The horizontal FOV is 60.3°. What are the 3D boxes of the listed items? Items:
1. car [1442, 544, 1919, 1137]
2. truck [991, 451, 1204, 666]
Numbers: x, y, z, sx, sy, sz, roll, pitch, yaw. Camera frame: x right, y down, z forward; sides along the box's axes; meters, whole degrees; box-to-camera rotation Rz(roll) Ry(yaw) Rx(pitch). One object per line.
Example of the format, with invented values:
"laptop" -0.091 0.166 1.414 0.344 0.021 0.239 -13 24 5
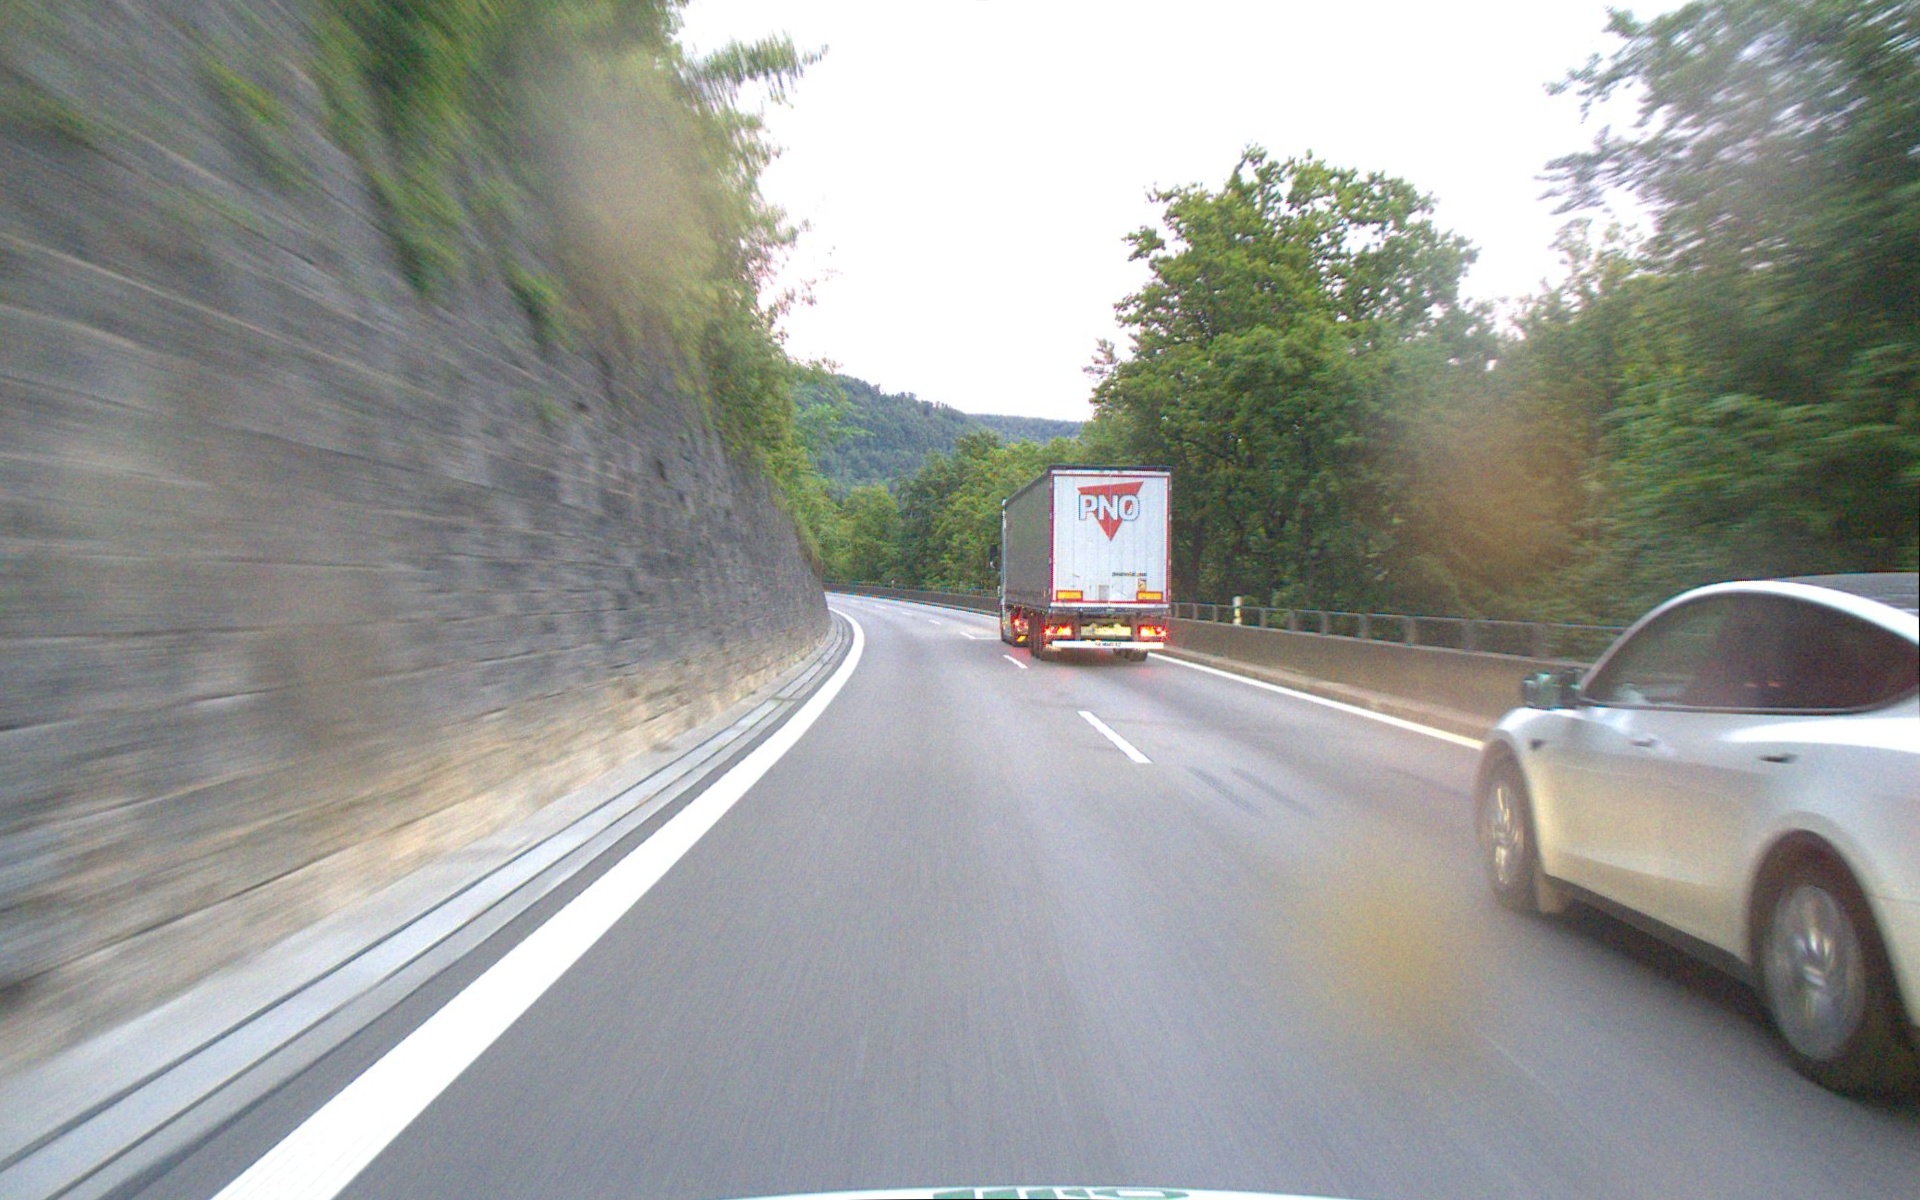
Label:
"car" 3.634 0.681 6.579 1.953 1.643 4.864 1 0 -1
"truck" 2.918 -0.866 41.471 3.229 4.246 16.495 1 0 -2
